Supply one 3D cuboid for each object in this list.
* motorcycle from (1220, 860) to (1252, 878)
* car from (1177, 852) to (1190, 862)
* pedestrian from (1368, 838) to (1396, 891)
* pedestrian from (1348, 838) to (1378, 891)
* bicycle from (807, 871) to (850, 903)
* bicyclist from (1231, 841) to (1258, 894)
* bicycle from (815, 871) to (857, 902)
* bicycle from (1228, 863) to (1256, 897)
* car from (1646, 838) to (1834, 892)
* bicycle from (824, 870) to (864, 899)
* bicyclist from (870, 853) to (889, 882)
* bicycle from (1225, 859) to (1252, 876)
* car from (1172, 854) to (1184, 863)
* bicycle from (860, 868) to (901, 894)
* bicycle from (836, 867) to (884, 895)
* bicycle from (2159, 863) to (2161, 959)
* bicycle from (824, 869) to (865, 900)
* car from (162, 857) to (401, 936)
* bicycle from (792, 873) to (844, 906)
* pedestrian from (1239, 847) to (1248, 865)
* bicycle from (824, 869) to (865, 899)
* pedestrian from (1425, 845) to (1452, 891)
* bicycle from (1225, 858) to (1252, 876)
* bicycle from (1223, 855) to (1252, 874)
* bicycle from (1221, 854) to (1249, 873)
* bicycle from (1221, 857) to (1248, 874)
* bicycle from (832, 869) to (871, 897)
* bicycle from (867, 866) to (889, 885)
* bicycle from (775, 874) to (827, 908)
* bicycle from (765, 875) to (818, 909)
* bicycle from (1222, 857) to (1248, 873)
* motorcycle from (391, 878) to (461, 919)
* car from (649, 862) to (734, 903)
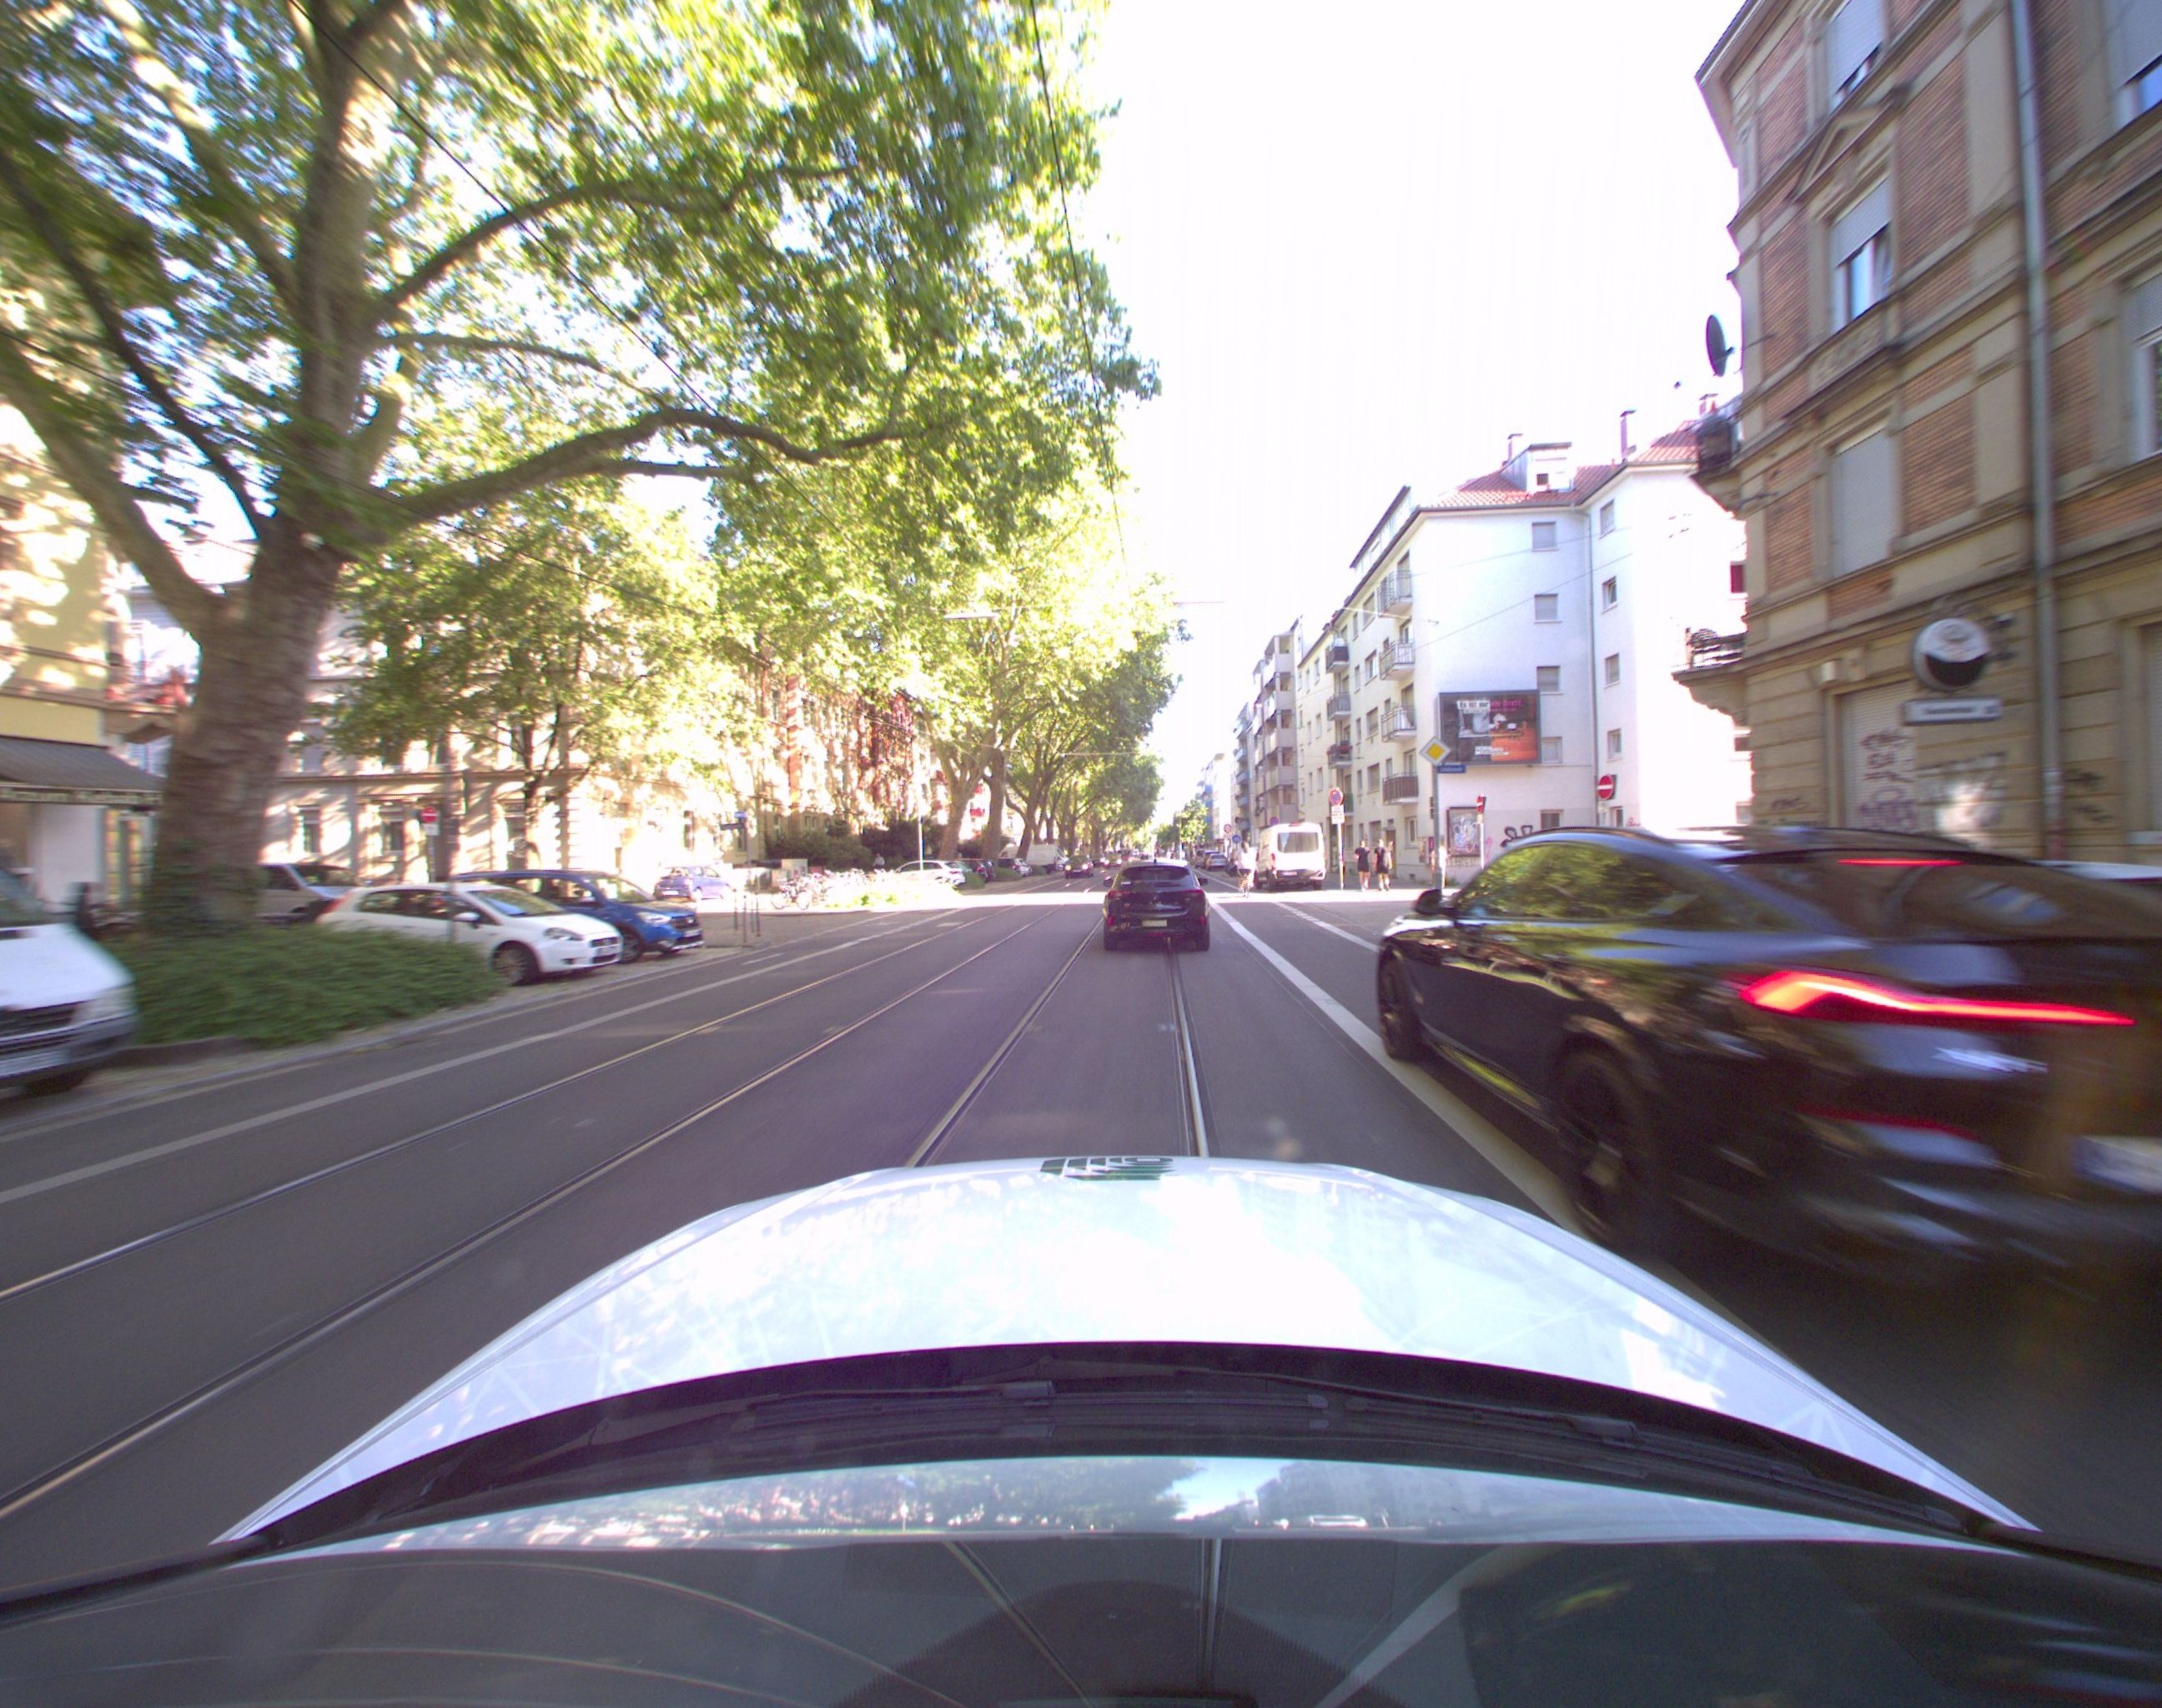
[{"bbox_3d":[9.729,0.933,51.074,1.801,1.080,0.621,-3,-1,28],"label":"motorcycle"},{"bbox_3d":[16.654,0.428,132.486,1.712,1.574,4.085,-2,0,1],"label":"car"},{"bbox_3d":[10.838,0.379,29.313,0.622,1.823,1.084,-3,-1,7],"label":"pedestrian"},{"bbox_3d":[10.167,0.379,29.379,0.706,1.823,1.084,-3,-1,7],"label":"pedestrian"},{"bbox_3d":[-9.101,1.187,29.307,1.544,1.088,0.398,-2,0,23],"label":"bicycle"},{"bbox_3d":[5.523,0.458,27.549,0.783,1.759,0.916,-1,-1,4],"label":"bicyclist"},{"bbox_3d":[-8.953,1.189,29.748,1.544,1.088,0.398,-2,0,23],"label":"bicycle"},{"bbox_3d":[5.436,0.858,27.637,0.698,1.092,1.992,0,-1,5],"label":"bicycle"},{"bbox_3d":[19.494,0.323,24.240,4.005,1.455,1.793,-1,0,5],"label":"car"},{"bbox_3d":[-9.209,1.182,31.675,1.544,1.088,0.398,-2,0,23],"label":"bicycle"},{"bbox_3d":[-12.437,0.807,50.243,0.826,1.763,1.049,-1,0,4],"label":"bicyclist"},{"bbox_3d":[10.222,0.899,52.880,1.645,0.987,0.457,-3,0,4],"label":"bicycle"},{"bbox_3d":[16.510,0.767,138.581,1.711,1.490,3.685,-2,0,3],"label":"car"},{"bbox_3d":[-8.528,1.155,34.555,1.783,1.043,0.601,-2,0,32],"label":"bicycle"},{"bbox_3d":[-9.074,1.122,33.412,1.901,1.088,0.600,-2,0,23],"label":"bicycle"},{"bbox_3d":[11.003,0.592,7.521,0.376,1.001,1.375,-2,0,7],"label":"bicycle"},{"bbox_3d":[-8.757,1.128,30.154,1.544,1.088,0.398,-2,0,23],"label":"bicycle"},{"bbox_3d":[-20.572,1.106,21.062,4.543,1.881,2.135,-2,-3,11],"label":"car"},{"bbox_3d":[-9.048,1.220,28.012,1.840,1.088,0.398,-2,0,23],"label":"bicycle"},{"bbox_3d":[15.628,0.188,78.202,0.753,1.720,0.721,-2,0,3],"label":"pedestrian"},{"bbox_3d":[-8.922,1.129,30.749,1.544,1.088,0.398,-2,0,23],"label":"bicycle"},{"bbox_3d":[12.554,0.481,28.635,0.628,1.580,0.935,0,-1,7],"label":"pedestrian"},{"bbox_3d":[10.045,0.815,51.937,1.645,1.055,0.457,-3,0,4],"label":"bicycle"},{"bbox_3d":[10.319,0.698,53.736,1.785,1.148,0.705,-3,0,4],"label":"bicycle"},{"bbox_3d":[10.484,0.645,55.458,1.815,1.191,0.457,-3,0,4],"label":"bicycle"},{"bbox_3d":[10.263,0.752,54.431,1.645,1.020,0.457,-3,0,4],"label":"bicycle"},{"bbox_3d":[-9.049,1.156,32.147,1.544,1.088,0.398,-2,0,23],"label":"bicycle"},{"bbox_3d":[-12.495,1.312,50.065,0.738,1.138,1.783,-1,0,5],"label":"bicycle"},{"bbox_3d":[-9.383,1.246,27.273,1.840,1.088,0.398,-2,0,23],"label":"bicycle"},{"bbox_3d":[-9.548,1.263,26.865,1.840,1.088,0.398,-2,0,23],"label":"bicycle"},{"bbox_3d":[10.384,0.742,54.971,1.645,0.966,0.457,-3,0,4],"label":"bicycle"},{"bbox_3d":[-21.760,1.450,27.101,0.584,1.261,1.881,-2,0,10],"label":"motorcycle"},{"bbox_3d":[-15.430,1.081,32.460,1.592,1.460,3.491,-2,0,2],"label":"car"}]
